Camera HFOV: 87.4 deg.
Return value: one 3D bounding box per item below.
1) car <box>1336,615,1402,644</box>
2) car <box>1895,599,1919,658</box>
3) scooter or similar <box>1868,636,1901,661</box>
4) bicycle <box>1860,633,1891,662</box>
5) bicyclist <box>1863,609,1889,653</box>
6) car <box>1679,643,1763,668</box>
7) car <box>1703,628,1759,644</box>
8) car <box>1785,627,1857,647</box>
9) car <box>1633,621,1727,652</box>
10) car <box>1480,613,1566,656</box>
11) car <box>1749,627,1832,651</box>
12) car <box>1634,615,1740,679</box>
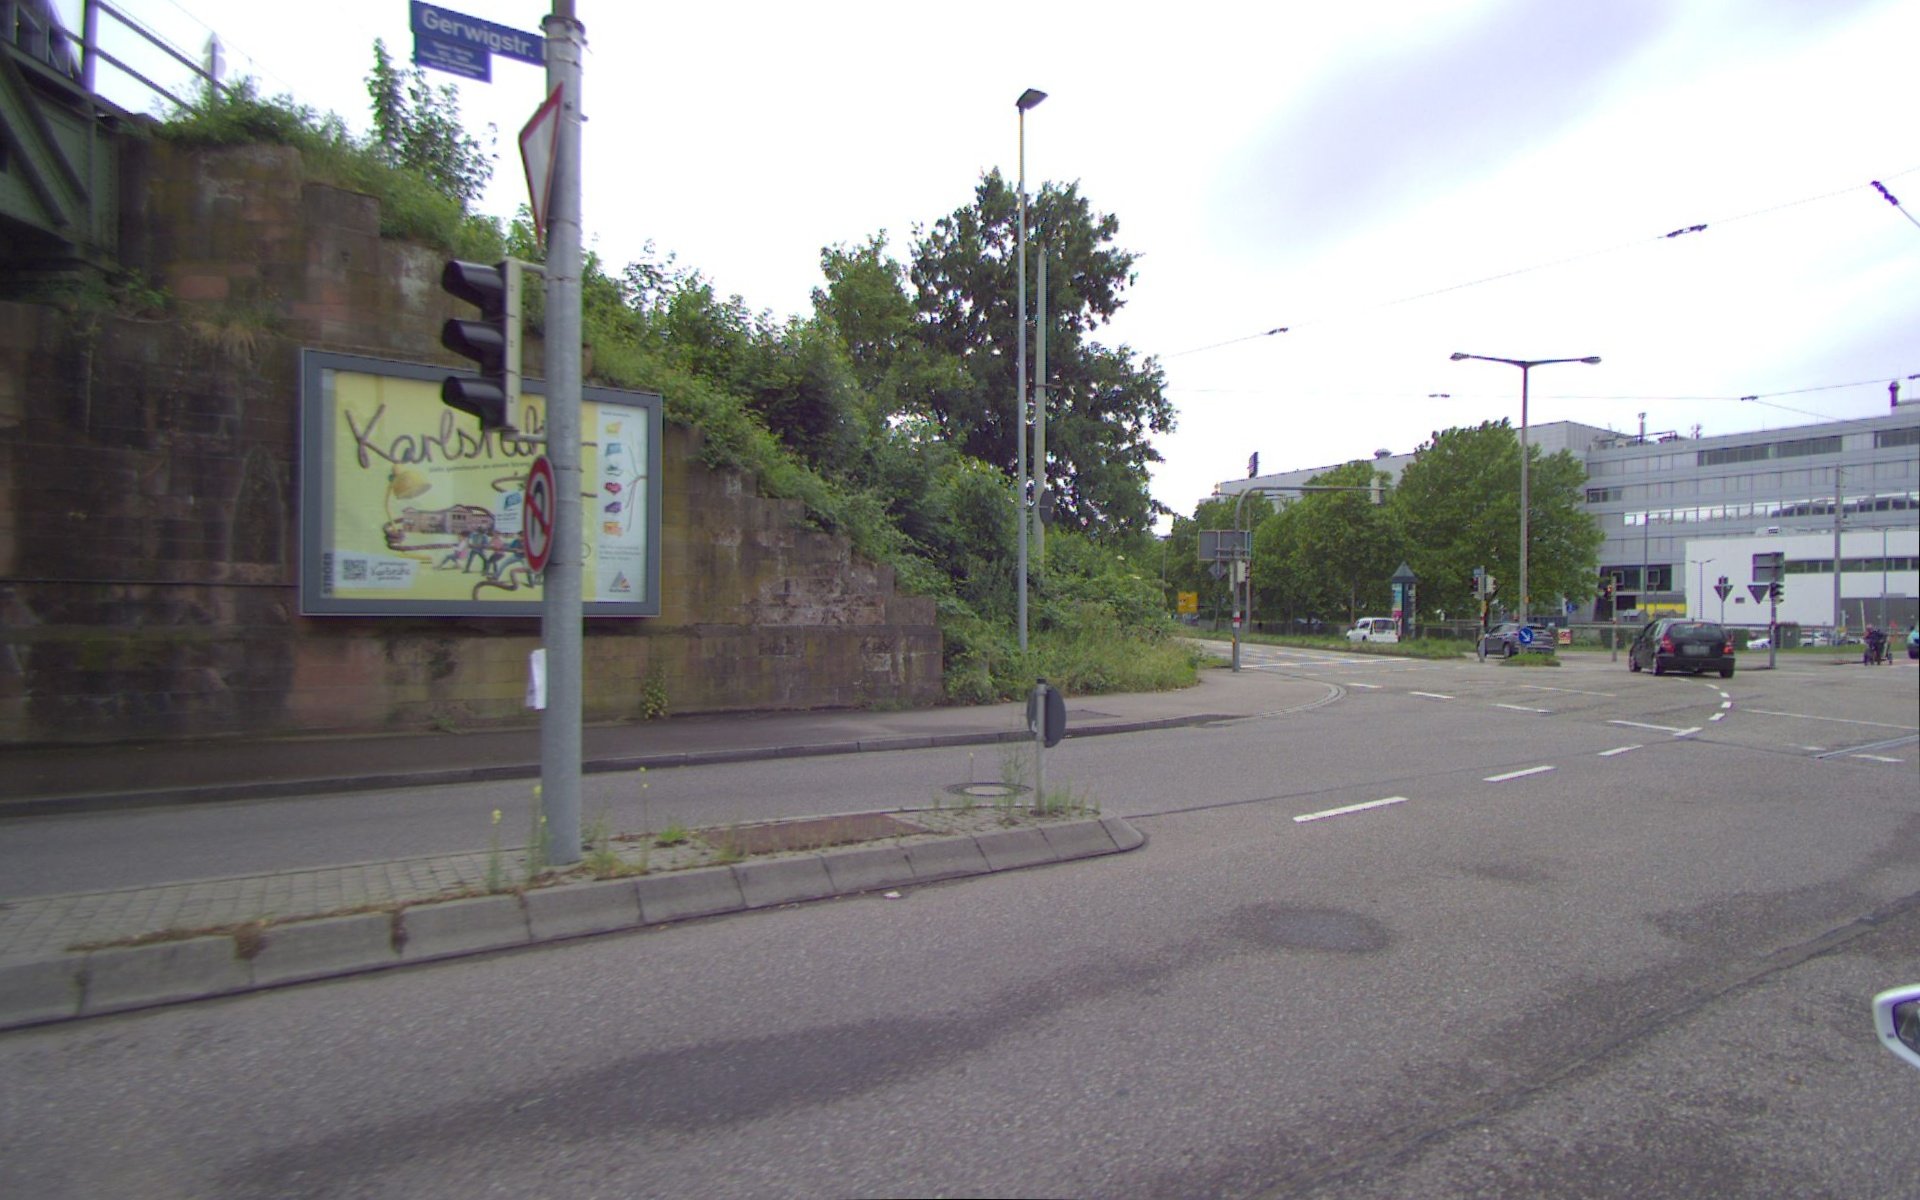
[{"bbox_3d":[24.897,1.785,61.323,1.929,1.548,5.010,1,1,0],"label":"car"},{"bbox_3d":[48.676,1.409,49.448,5.879,2.863,2.317,1,-1,-30],"label":"car"},{"bbox_3d":[37.864,1.979,41.148,1.188,0.919,0.837,0,1,-40],"label":"scooter or similar"},{"bbox_3d":[36.546,1.894,40.102,2.007,1.076,0.640,0,1,-40],"label":"bicycle"},{"bbox_3d":[36.540,1.236,40.071,0.680,1.706,0.640,0,2,-40],"label":"bicyclist"},{"bbox_3d":[51.816,3.746,68.495,1.891,1.552,4.189,1,-1,-31],"label":"car"},{"bbox_3d":[74.124,3.420,96.602,1.894,1.505,3.960,1,-1,-36],"label":"car"},{"bbox_3d":[67.233,2.892,78.465,1.894,1.505,3.960,1,-1,-36],"label":"car"},{"bbox_3d":[36.746,1.833,51.391,1.744,1.548,3.659,1,-1,-14],"label":"car"},{"bbox_3d":[24.090,1.428,43.149,1.743,1.674,3.670,1,1,3],"label":"car"},{"bbox_3d":[62.276,2.893,75.366,1.894,1.655,4.496,1,-1,-36],"label":"car"},{"bbox_3d":[20.099,1.234,27.921,1.741,1.548,3.665,1,1,26],"label":"car"}]
